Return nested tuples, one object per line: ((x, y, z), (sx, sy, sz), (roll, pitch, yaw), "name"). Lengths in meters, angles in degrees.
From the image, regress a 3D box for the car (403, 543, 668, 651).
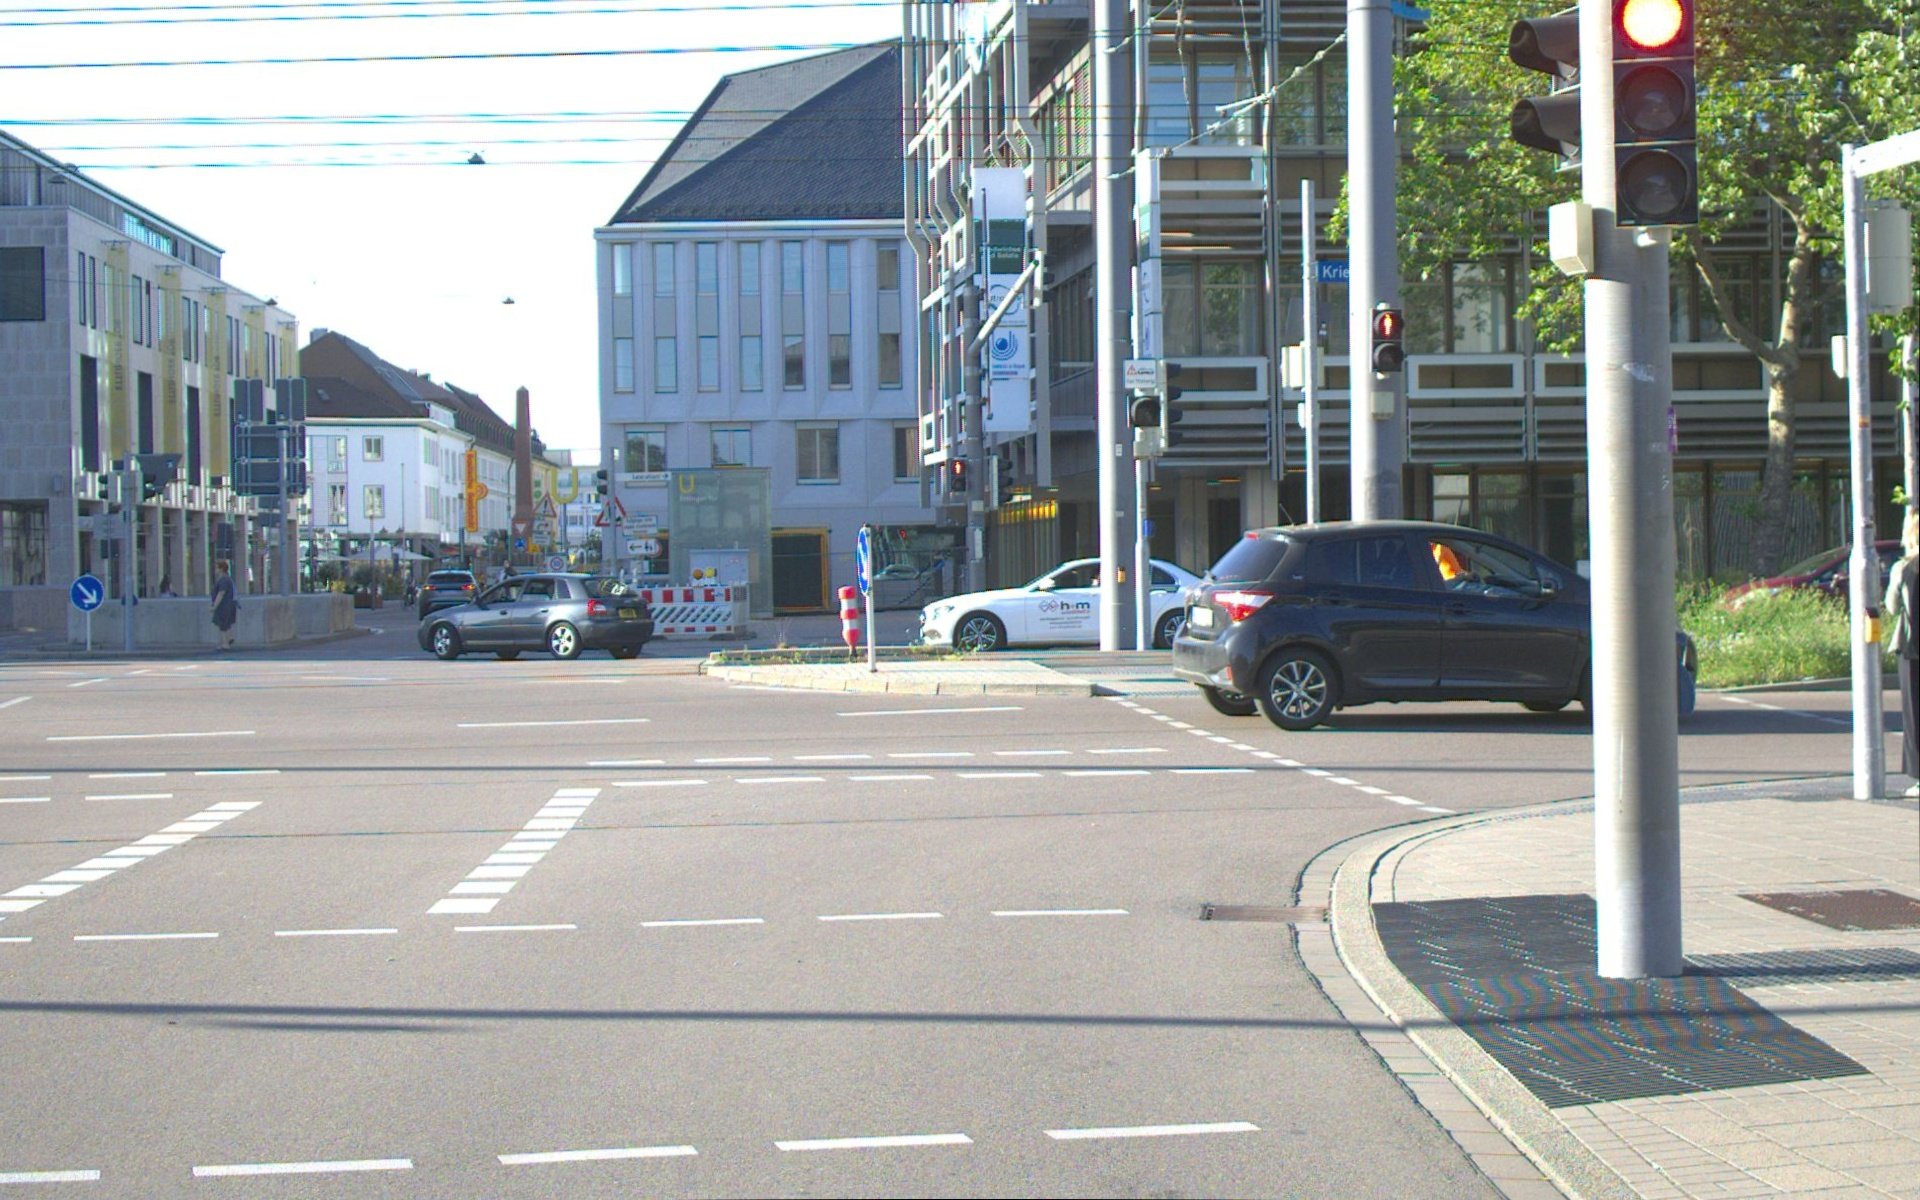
((-6.920, -0.056, 56.007), (3.994, 1.678, 1.822), (0, 1, 31), "car")

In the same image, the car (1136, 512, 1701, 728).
((3.406, 0.123, 25.806), (3.860, 1.505, 1.672), (-1, 1, -11), "car")

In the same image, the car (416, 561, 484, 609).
((-16.017, -0.485, 108.083), (1.658, 1.453, 3.542), (-1, 1, -1), "car")

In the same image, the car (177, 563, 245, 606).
((-26.461, -0.561, 121.513), (1.658, 1.453, 3.542), (-1, 1, -1), "car")

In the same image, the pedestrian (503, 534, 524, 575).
((-21.393, -2.165, 164.689), (0.910, 1.958, 0.823), (1, 0, -1), "pedestrian")

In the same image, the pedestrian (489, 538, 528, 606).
((-11.897, -0.738, 90.627), (0.899, 1.776, 0.808), (-1, 1, -1), "pedestrian")

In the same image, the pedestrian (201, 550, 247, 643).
((-13.514, -0.064, 63.135), (0.700, 1.682, 0.619), (-1, 1, 0), "pedestrian")

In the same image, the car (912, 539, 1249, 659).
((1.747, -0.034, 50.954), (4.844, 1.678, 1.826), (-1, 1, -3), "car")

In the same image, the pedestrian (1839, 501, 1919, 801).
((5.342, 0.263, 18.895), (0.765, 1.608, 0.874), (-1, 1, -2), "pedestrian")

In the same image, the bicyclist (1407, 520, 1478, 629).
((6.615, -0.357, 47.130), (0.822, 1.469, 0.652), (-1, 1, -4), "bicyclist")

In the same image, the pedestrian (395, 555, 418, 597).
((-26.327, -1.141, 163.577), (0.910, 1.958, 0.823), (-1, 1, -1), "pedestrian")

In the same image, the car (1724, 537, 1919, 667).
((12.731, -0.006, 46.484), (4.287, 1.678, 1.826), (-1, 1, -11), "car")

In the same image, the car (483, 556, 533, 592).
((-19.036, -1.090, 144.964), (1.658, 1.453, 3.542), (-1, 1, -1), "car")
